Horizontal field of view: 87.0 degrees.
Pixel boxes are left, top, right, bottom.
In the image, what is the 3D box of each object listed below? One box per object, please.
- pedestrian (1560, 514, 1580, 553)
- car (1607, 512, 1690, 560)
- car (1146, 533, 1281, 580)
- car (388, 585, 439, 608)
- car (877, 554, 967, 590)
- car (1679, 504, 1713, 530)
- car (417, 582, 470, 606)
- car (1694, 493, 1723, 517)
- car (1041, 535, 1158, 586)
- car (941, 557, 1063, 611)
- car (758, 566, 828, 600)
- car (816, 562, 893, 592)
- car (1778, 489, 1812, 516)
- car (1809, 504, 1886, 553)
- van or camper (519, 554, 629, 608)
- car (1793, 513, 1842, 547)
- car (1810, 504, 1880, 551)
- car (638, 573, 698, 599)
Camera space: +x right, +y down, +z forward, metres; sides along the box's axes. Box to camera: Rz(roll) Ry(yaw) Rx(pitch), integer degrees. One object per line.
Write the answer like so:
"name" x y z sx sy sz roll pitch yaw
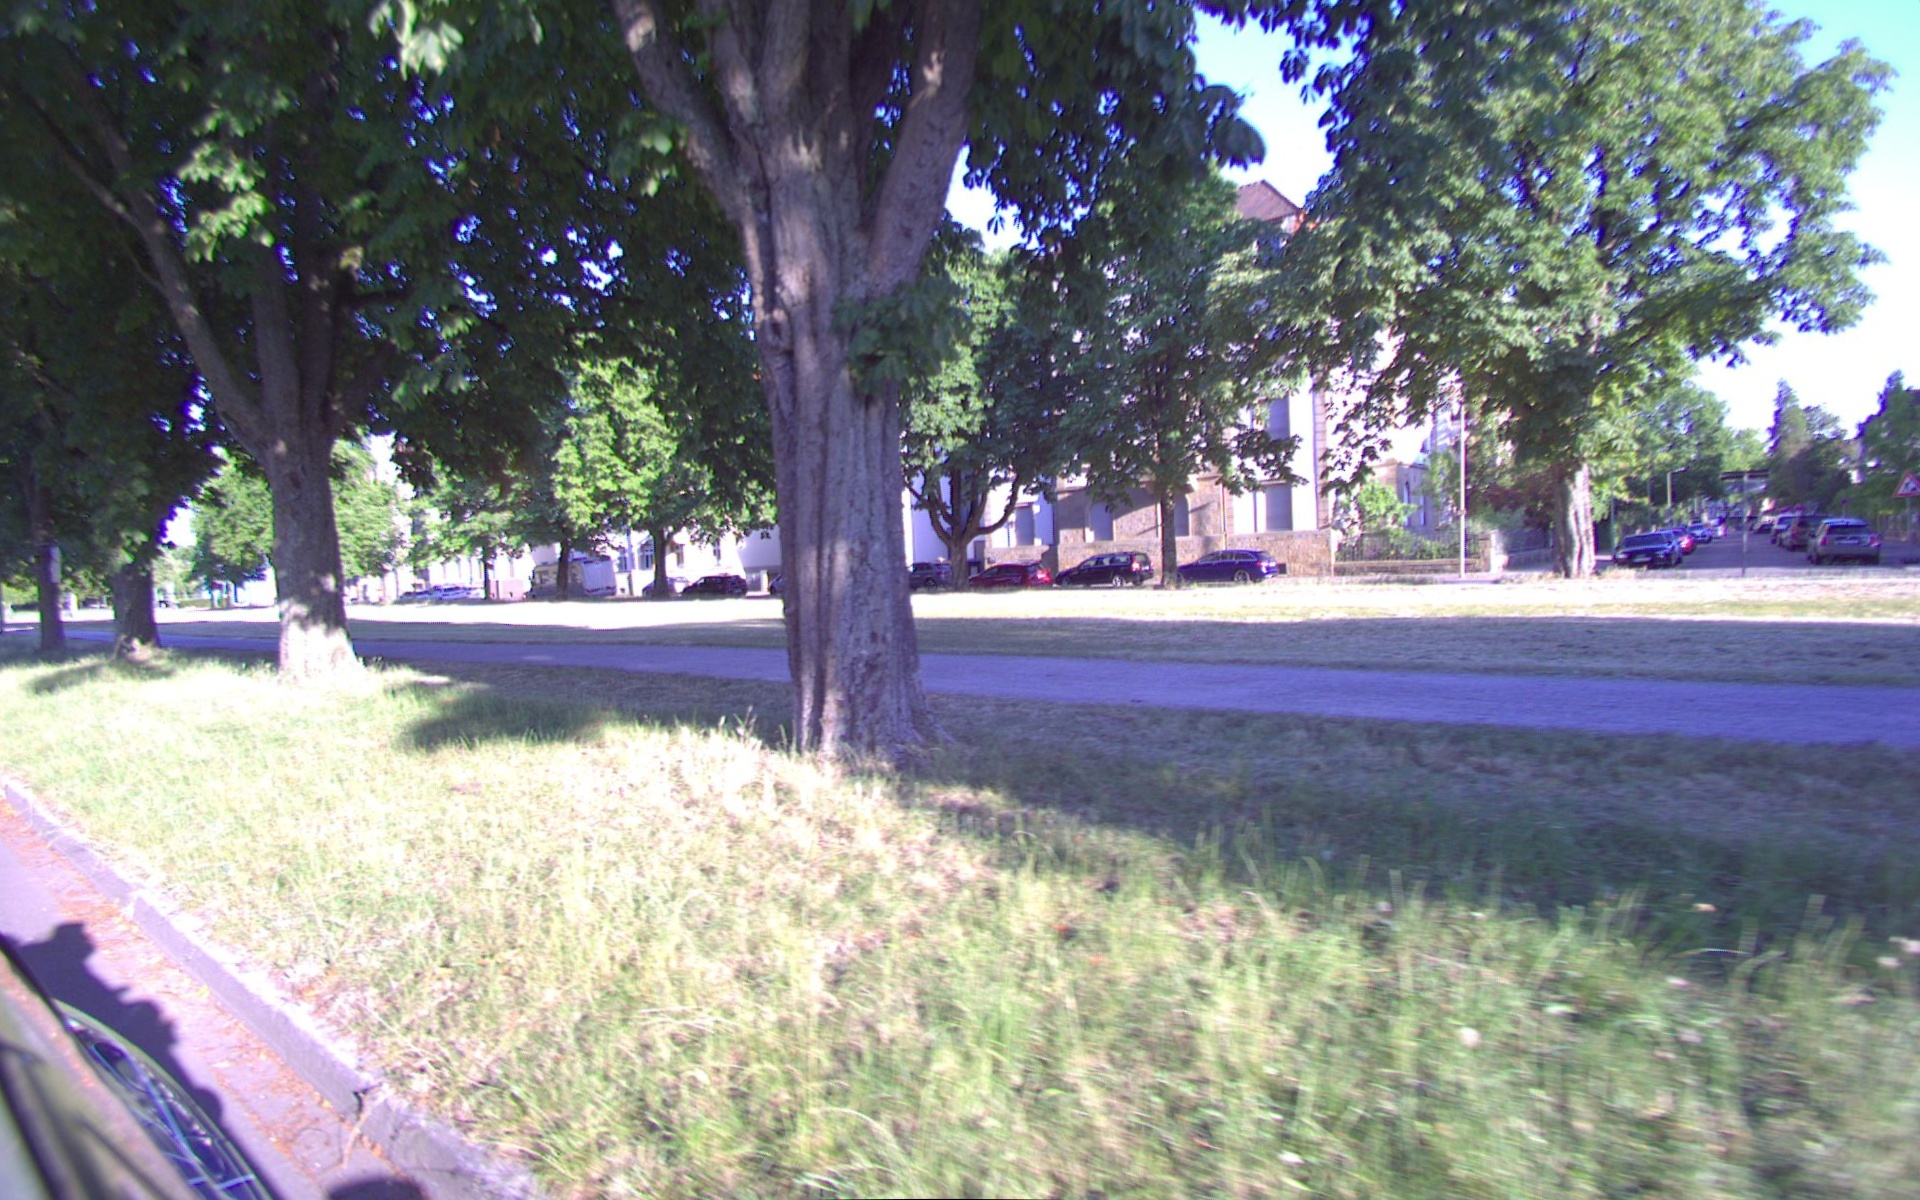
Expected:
"pedestrian" 29.522 -3.229 48.963 0.689 1.820 0.863 -2 2 27
"car" 26.242 -2.448 38.495 1.999 1.619 4.805 -1 3 41
"car" 10.402 -1.788 41.660 4.998 1.762 1.976 0 5 36
"car" -44.417 -0.294 82.222 4.874 1.702 1.973 -1 2 41
"car" -2.020 -1.431 52.686 4.425 1.664 1.974 -1 2 40
"car" 59.106 -6.654 81.279 1.998 1.864 3.949 -2 3 39
"car" -40.058 -0.437 78.434 4.874 1.702 1.973 -1 2 41
"car" 69.566 -8.804 94.131 1.996 2.028 3.953 -2 2 35
"car" 6.199 -1.755 45.393 4.875 2.028 1.972 -1 2 43
"car" 1.688 -0.646 42.015 4.875 2.028 1.972 -1 2 43
"car" -9.847 -0.990 59.506 4.000 1.747 1.972 -2 2 43
"car" -5.924 -1.262 56.625 4.169 1.440 1.973 -1 3 43
"car" 74.817 -8.703 90.745 1.996 2.194 3.953 -2 2 35
"car" 30.398 -2.451 34.688 1.864 1.497 3.946 -1 3 41
"van or camper" -25.028 -1.219 65.470 7.893 3.133 3.221 -1 2 41
"car" 43.633 -3.569 51.545 1.834 1.585 3.858 -2 2 40
"car" 33.349 -2.737 38.214 1.834 1.585 3.858 -2 2 40
"car" -19.767 -0.939 68.349 3.997 1.475 1.974 -2 2 41
